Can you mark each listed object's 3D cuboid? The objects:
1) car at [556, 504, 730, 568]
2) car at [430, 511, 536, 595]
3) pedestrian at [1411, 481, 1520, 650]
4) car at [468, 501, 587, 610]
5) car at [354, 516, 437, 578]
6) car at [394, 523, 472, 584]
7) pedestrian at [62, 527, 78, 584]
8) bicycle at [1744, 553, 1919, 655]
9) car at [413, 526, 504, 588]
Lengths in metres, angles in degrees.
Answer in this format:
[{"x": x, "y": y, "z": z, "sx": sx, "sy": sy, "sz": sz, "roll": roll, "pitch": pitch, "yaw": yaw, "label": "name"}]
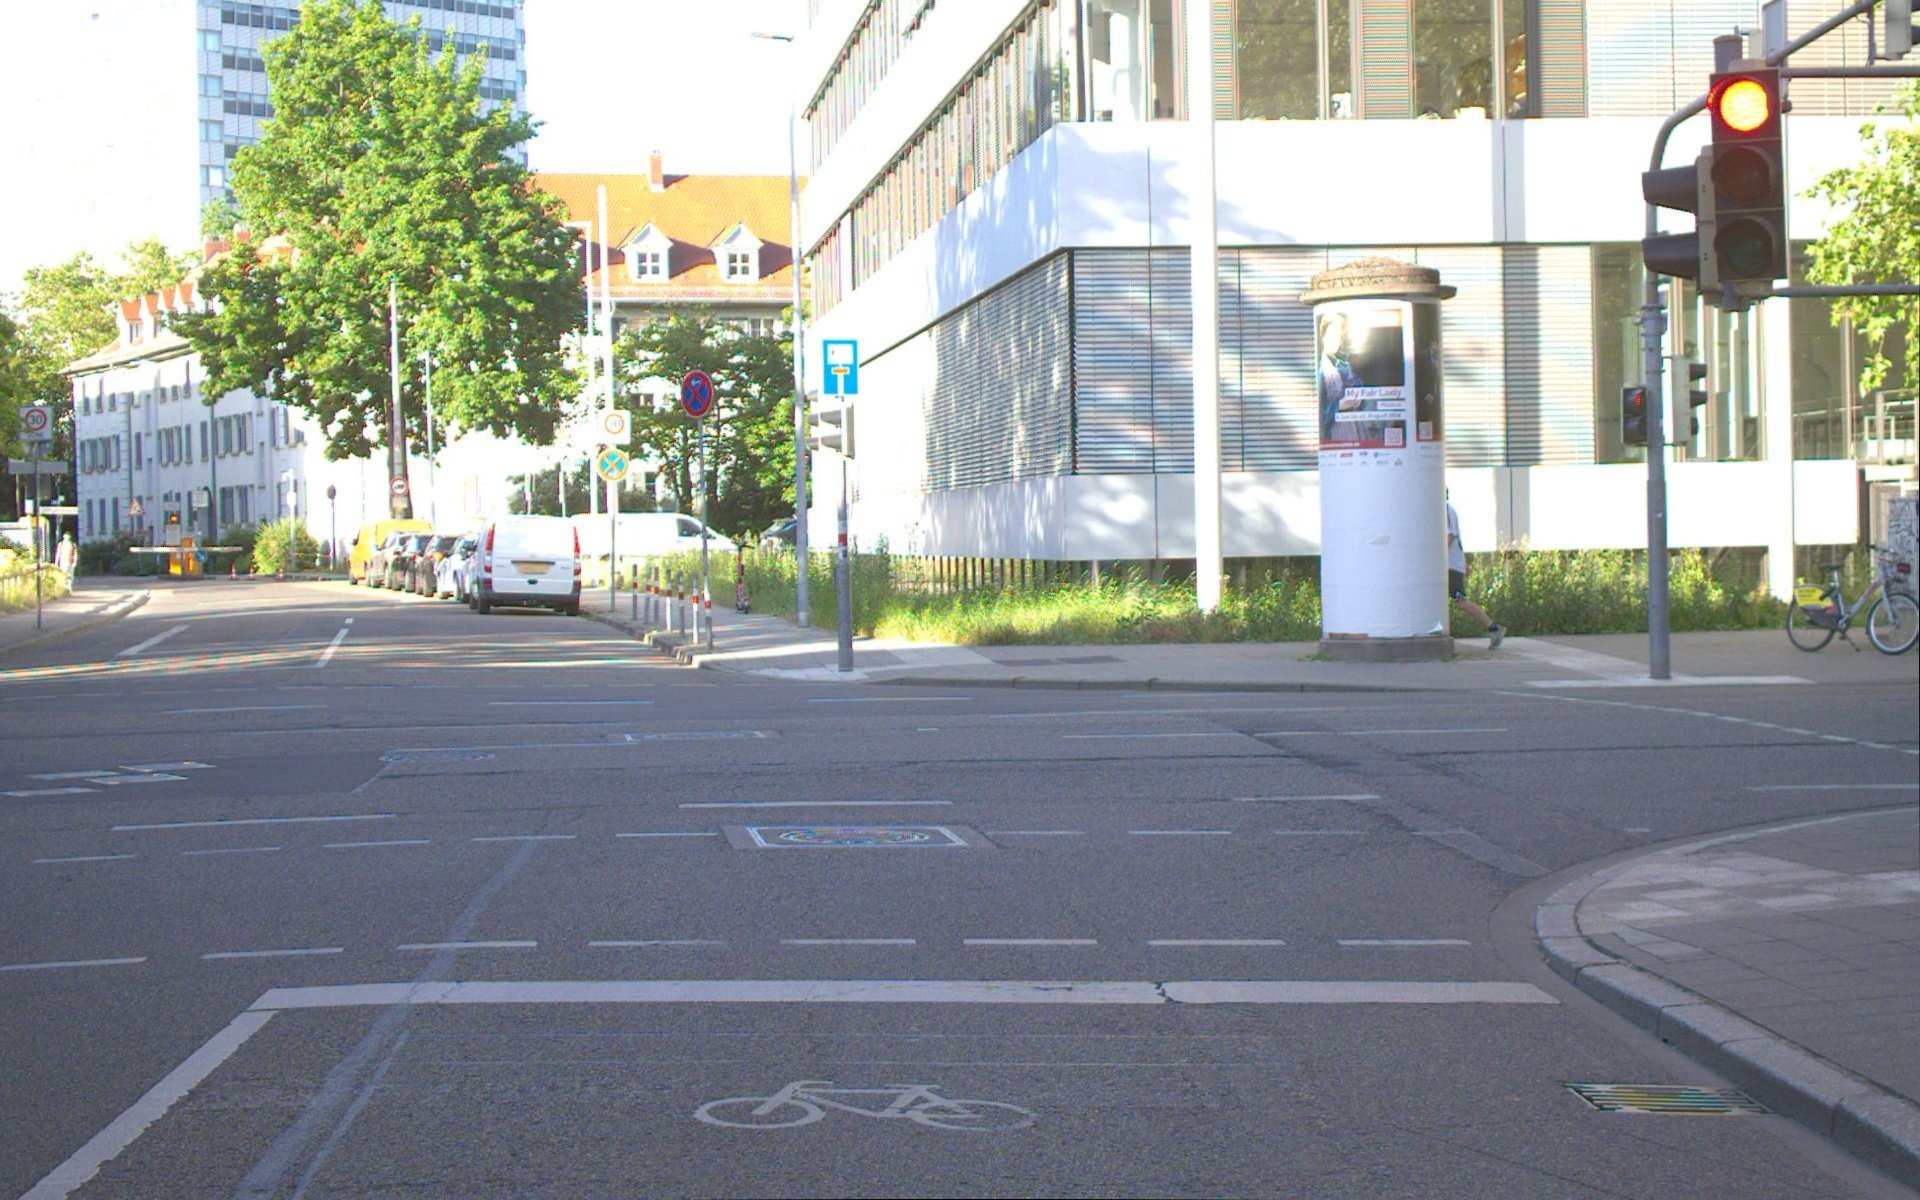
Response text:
[{"x": -9.488, "y": -1.886, "z": 102.768, "sx": 4.880, "sy": 1.865, "sz": 2.001, "roll": 0, "pitch": 0, "yaw": -16, "label": "car"}, {"x": -10.641, "y": -1.056, "z": 76.443, "sx": 1.946, "sy": 1.789, "sz": 4.239, "roll": -1, "pitch": 1, "yaw": -13, "label": "car"}, {"x": 5.556, "y": -0.382, "z": 37.820, "sx": 1.037, "sy": 1.824, "sz": 0.539, "roll": -1, "pitch": 1, "yaw": -13, "label": "pedestrian"}, {"x": -8.164, "y": -0.858, "z": 64.636, "sx": 2.066, "sy": 1.956, "sz": 4.239, "roll": -1, "pitch": 1, "yaw": -9, "label": "car"}, {"x": -15.731, "y": -1.488, "z": 95.652, "sx": 2.100, "sy": 1.652, "sz": 4.477, "roll": -1, "pitch": 1, "yaw": -11, "label": "car"}, {"x": -13.183, "y": -1.182, "z": 85.832, "sx": 1.703, "sy": 1.459, "sz": 4.239, "roll": -1, "pitch": 1, "yaw": -11, "label": "car"}, {"x": -24.131, "y": -1.207, "z": 93.233, "sx": 0.380, "sy": 1.529, "sz": 0.446, "roll": -1, "pitch": 1, "yaw": -12, "label": "pedestrian"}, {"x": 9.181, "y": 0.033, "z": 36.110, "sx": 0.463, "sy": 1.045, "sz": 1.914, "roll": -2, "pitch": 2, "yaw": -42, "label": "bicycle"}, {"x": -11.885, "y": -1.033, "z": 81.324, "sx": 1.703, "sy": 1.419, "sz": 4.239, "roll": -1, "pitch": 1, "yaw": -14, "label": "car"}]
